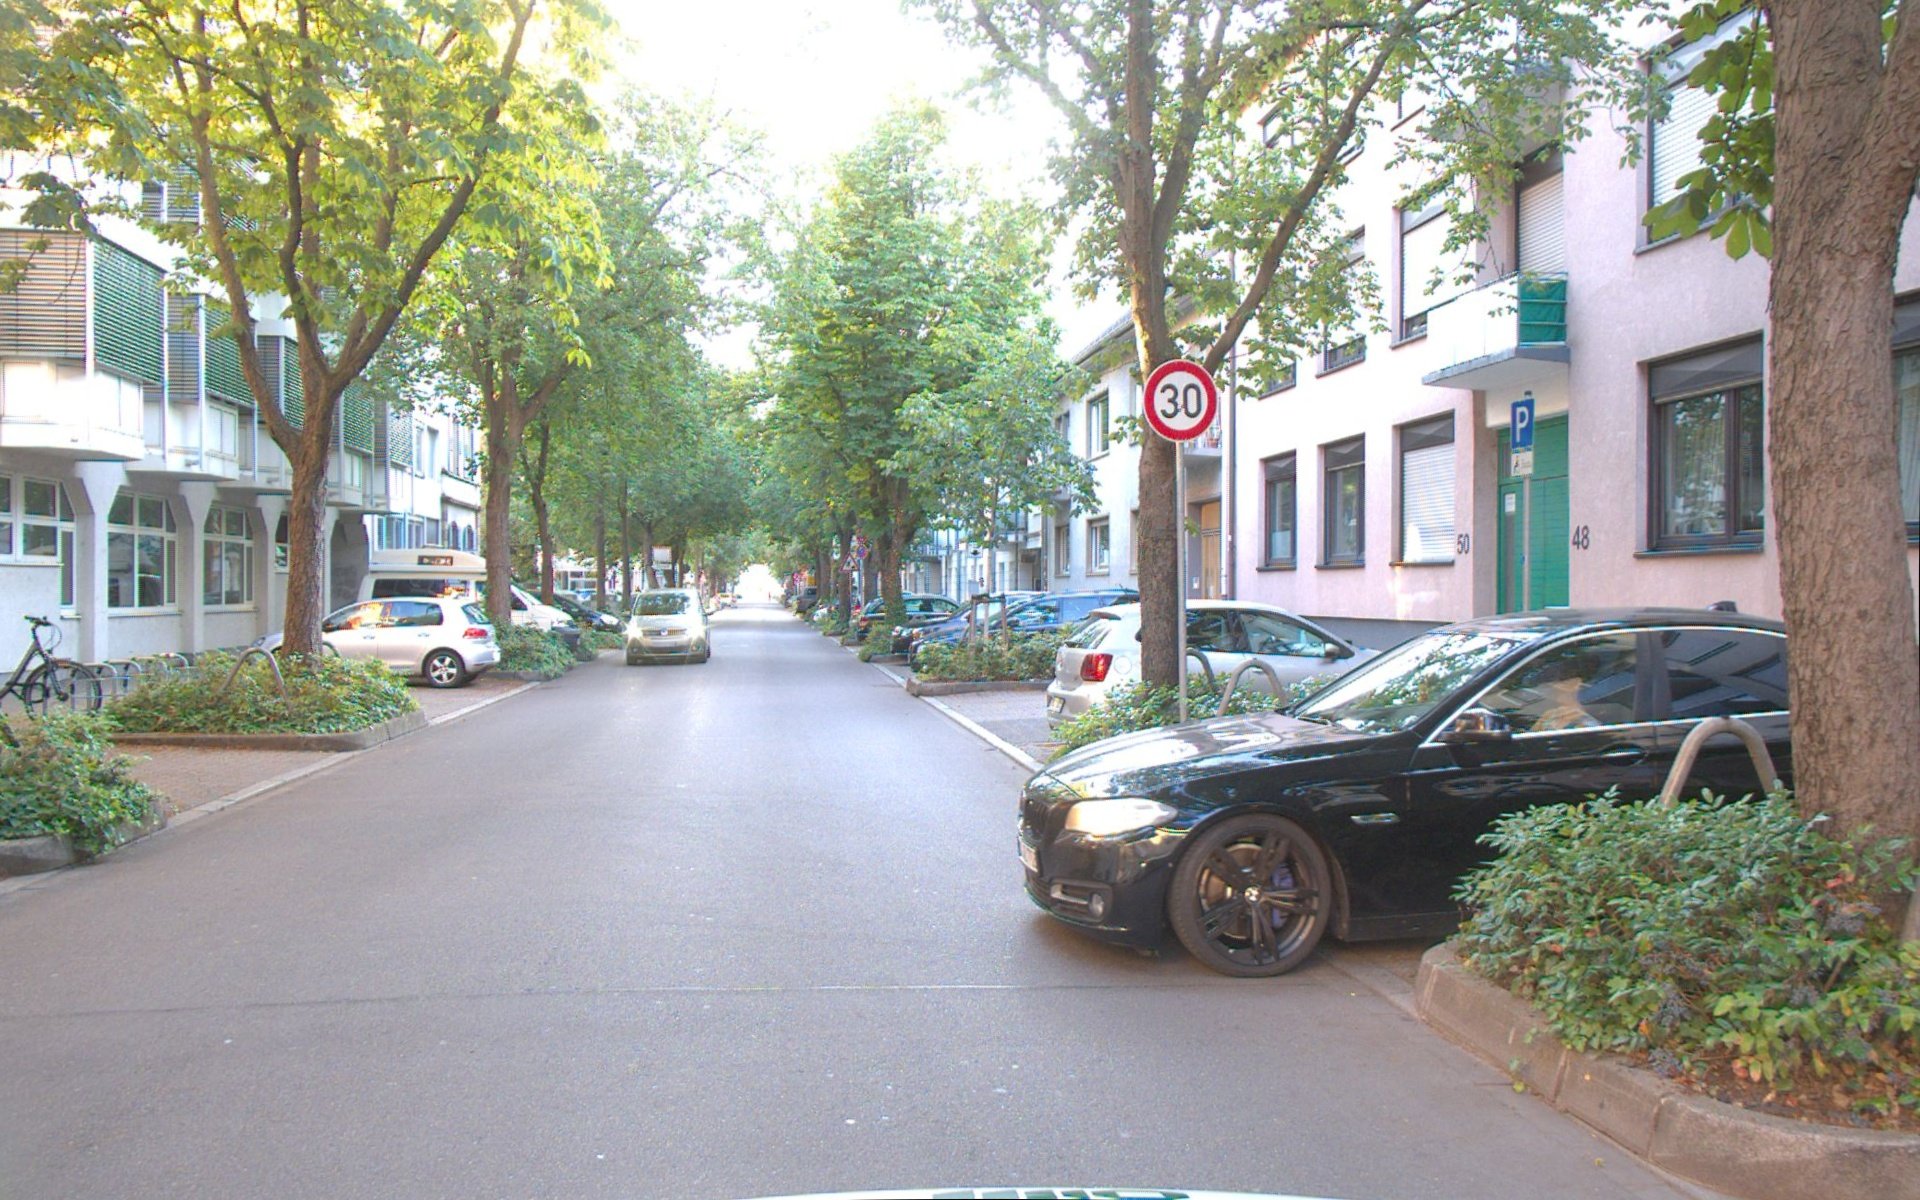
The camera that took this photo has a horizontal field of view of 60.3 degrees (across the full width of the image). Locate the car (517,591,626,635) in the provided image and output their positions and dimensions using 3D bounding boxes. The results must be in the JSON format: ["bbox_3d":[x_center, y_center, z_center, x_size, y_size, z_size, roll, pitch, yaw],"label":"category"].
[{"bbox_3d":[-14.995,0.498,63.971,3.891,1.647,1.783,0,0,-6],"label":"car"}]

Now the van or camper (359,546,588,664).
[{"bbox_3d":[-10.670,0.087,36.577,4.575,2.521,1.997,0,0,-7],"label":"van or camper"}]

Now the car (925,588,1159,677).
[{"bbox_3d":[1.419,0.552,29.373,3.894,1.502,1.781,0,0,-9],"label":"car"}]

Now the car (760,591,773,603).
[{"bbox_3d":[-25.836,-0.355,220.872,1.787,1.557,3.995,0,0,-6],"label":"car"}]

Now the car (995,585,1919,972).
[{"bbox_3d":[2.588,0.690,7.657,4.655,1.506,1.797,0,0,-7],"label":"car"}]

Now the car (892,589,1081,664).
[{"bbox_3d":[0.545,0.547,35.839,3.893,1.554,1.782,0,0,-8],"label":"car"}]

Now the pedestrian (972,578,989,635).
[{"bbox_3d":[0.750,0.228,60.415,0.577,2.049,0.669,0,0,-6],"label":"pedestrian"}]

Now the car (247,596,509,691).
[{"bbox_3d":[-9.864,0.710,28.274,3.891,1.544,1.783,0,0,-6],"label":"car"}]

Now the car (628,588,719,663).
[{"bbox_3d":[-6.382,0.523,37.200,1.745,1.589,4.162,0,0,-6],"label":"car"}]

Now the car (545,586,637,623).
[{"bbox_3d":[-16.825,0.216,75.552,3.891,1.647,1.783,0,0,-6],"label":"car"}]

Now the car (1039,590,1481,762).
[{"bbox_3d":[2.794,0.669,15.795,3.836,1.502,1.661,0,0,-9],"label":"car"}]

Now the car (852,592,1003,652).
[{"bbox_3d":[-0.901,0.564,44.628,3.893,1.554,1.782,0,0,-8],"label":"car"}]

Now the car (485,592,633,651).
[{"bbox_3d":[-11.483,0.605,47.555,3.891,1.647,1.783,0,0,-6],"label":"car"}]

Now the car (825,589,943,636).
[{"bbox_3d":[-2.615,0.403,56.470,3.894,1.554,1.782,0,0,-9],"label":"car"}]

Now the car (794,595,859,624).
[{"bbox_3d":[-8.130,0.546,100.339,3.891,1.713,1.783,0,0,-6],"label":"car"}]
